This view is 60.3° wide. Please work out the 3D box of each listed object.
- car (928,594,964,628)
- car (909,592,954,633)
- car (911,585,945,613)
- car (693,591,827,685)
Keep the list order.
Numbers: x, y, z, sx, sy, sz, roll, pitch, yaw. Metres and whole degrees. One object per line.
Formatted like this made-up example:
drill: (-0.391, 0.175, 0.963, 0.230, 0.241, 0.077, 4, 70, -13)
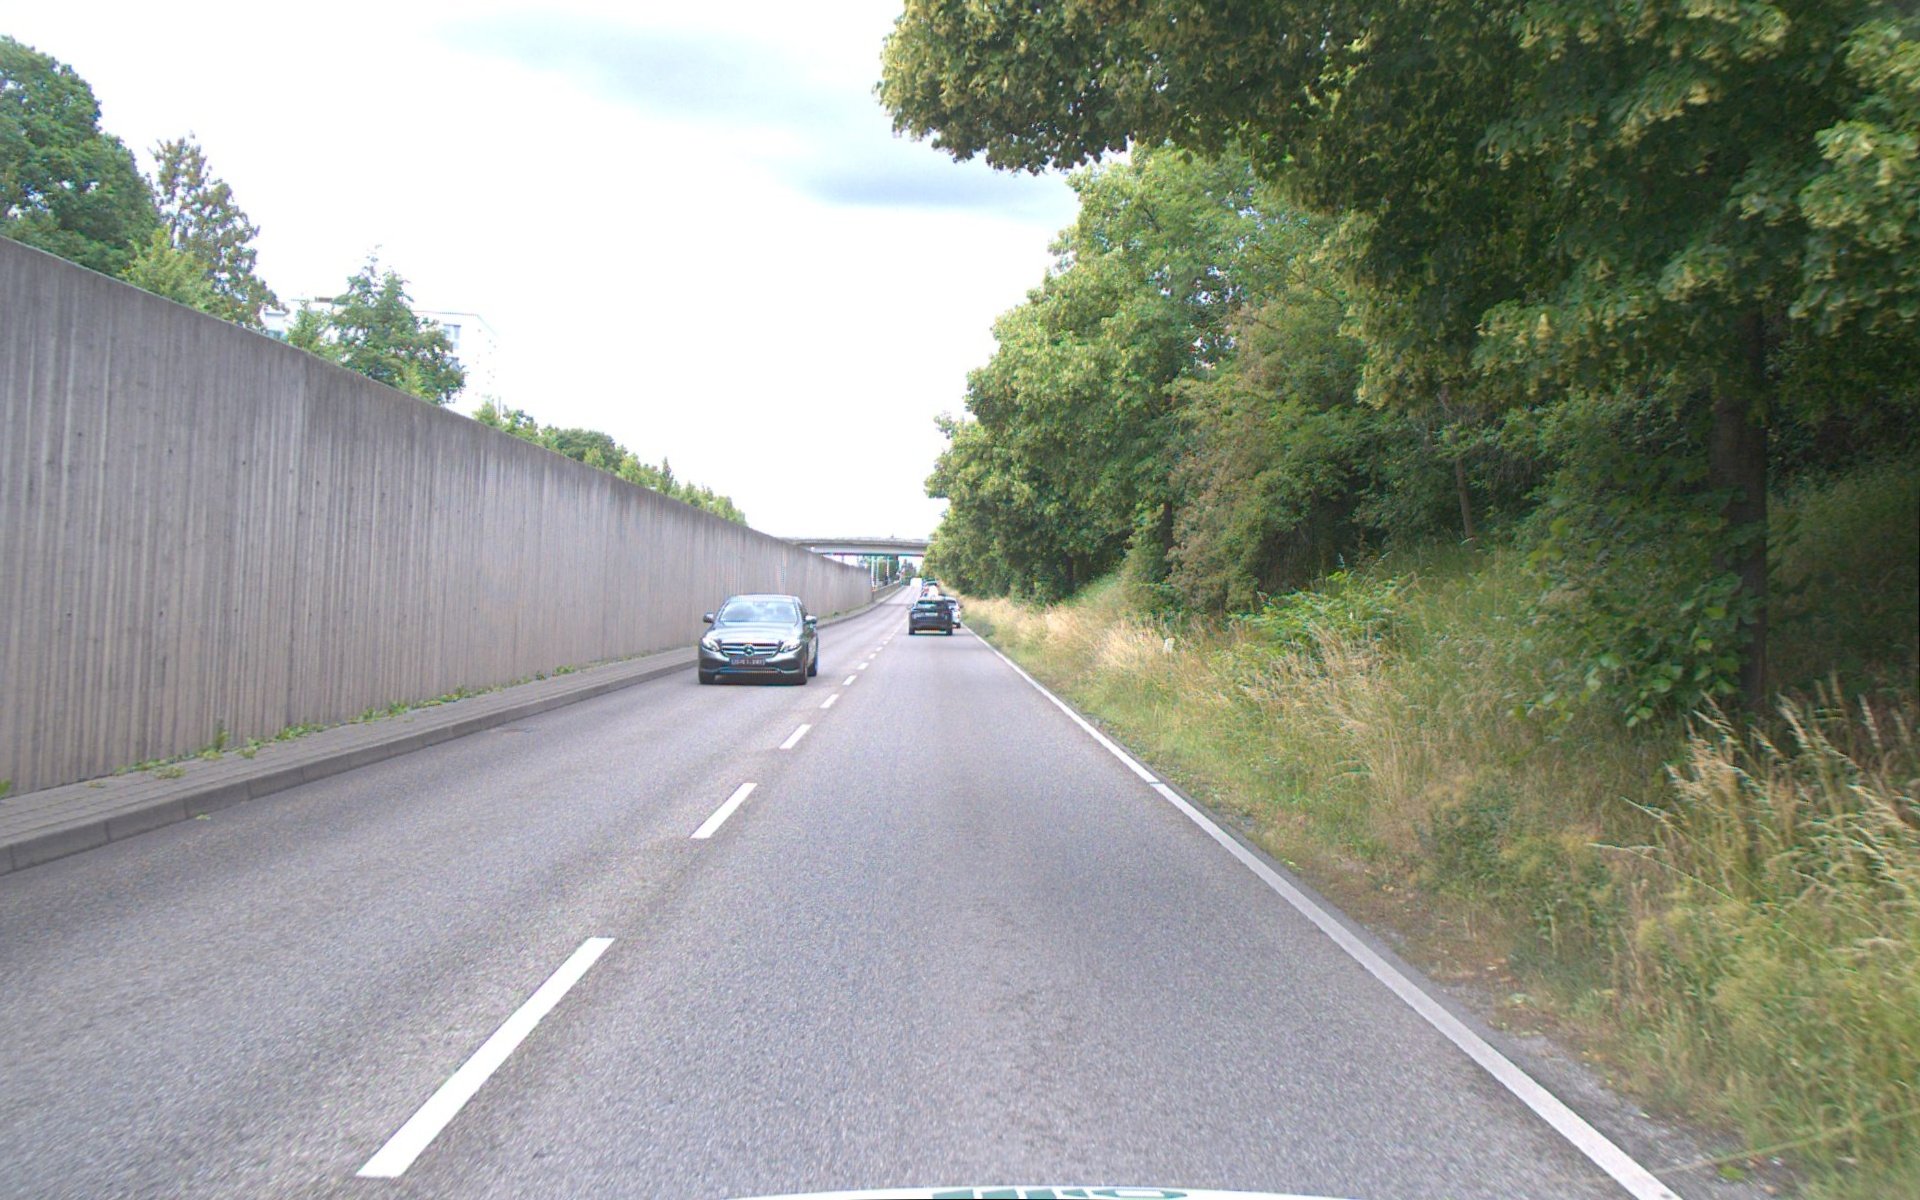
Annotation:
car: (-0.679, 0.562, 81.988, 1.718, 1.550, 4.035, -1, -1, -1)
car: (-1.133, 0.519, 65.976, 1.718, 1.550, 4.035, 0, -1, -1)
car: (-1.951, -0.054, 100.454, 1.830, 1.516, 4.254, 4, 0, -3)
car: (-3.461, 0.611, 29.412, 1.854, 1.509, 4.822, 0, 0, -1)
